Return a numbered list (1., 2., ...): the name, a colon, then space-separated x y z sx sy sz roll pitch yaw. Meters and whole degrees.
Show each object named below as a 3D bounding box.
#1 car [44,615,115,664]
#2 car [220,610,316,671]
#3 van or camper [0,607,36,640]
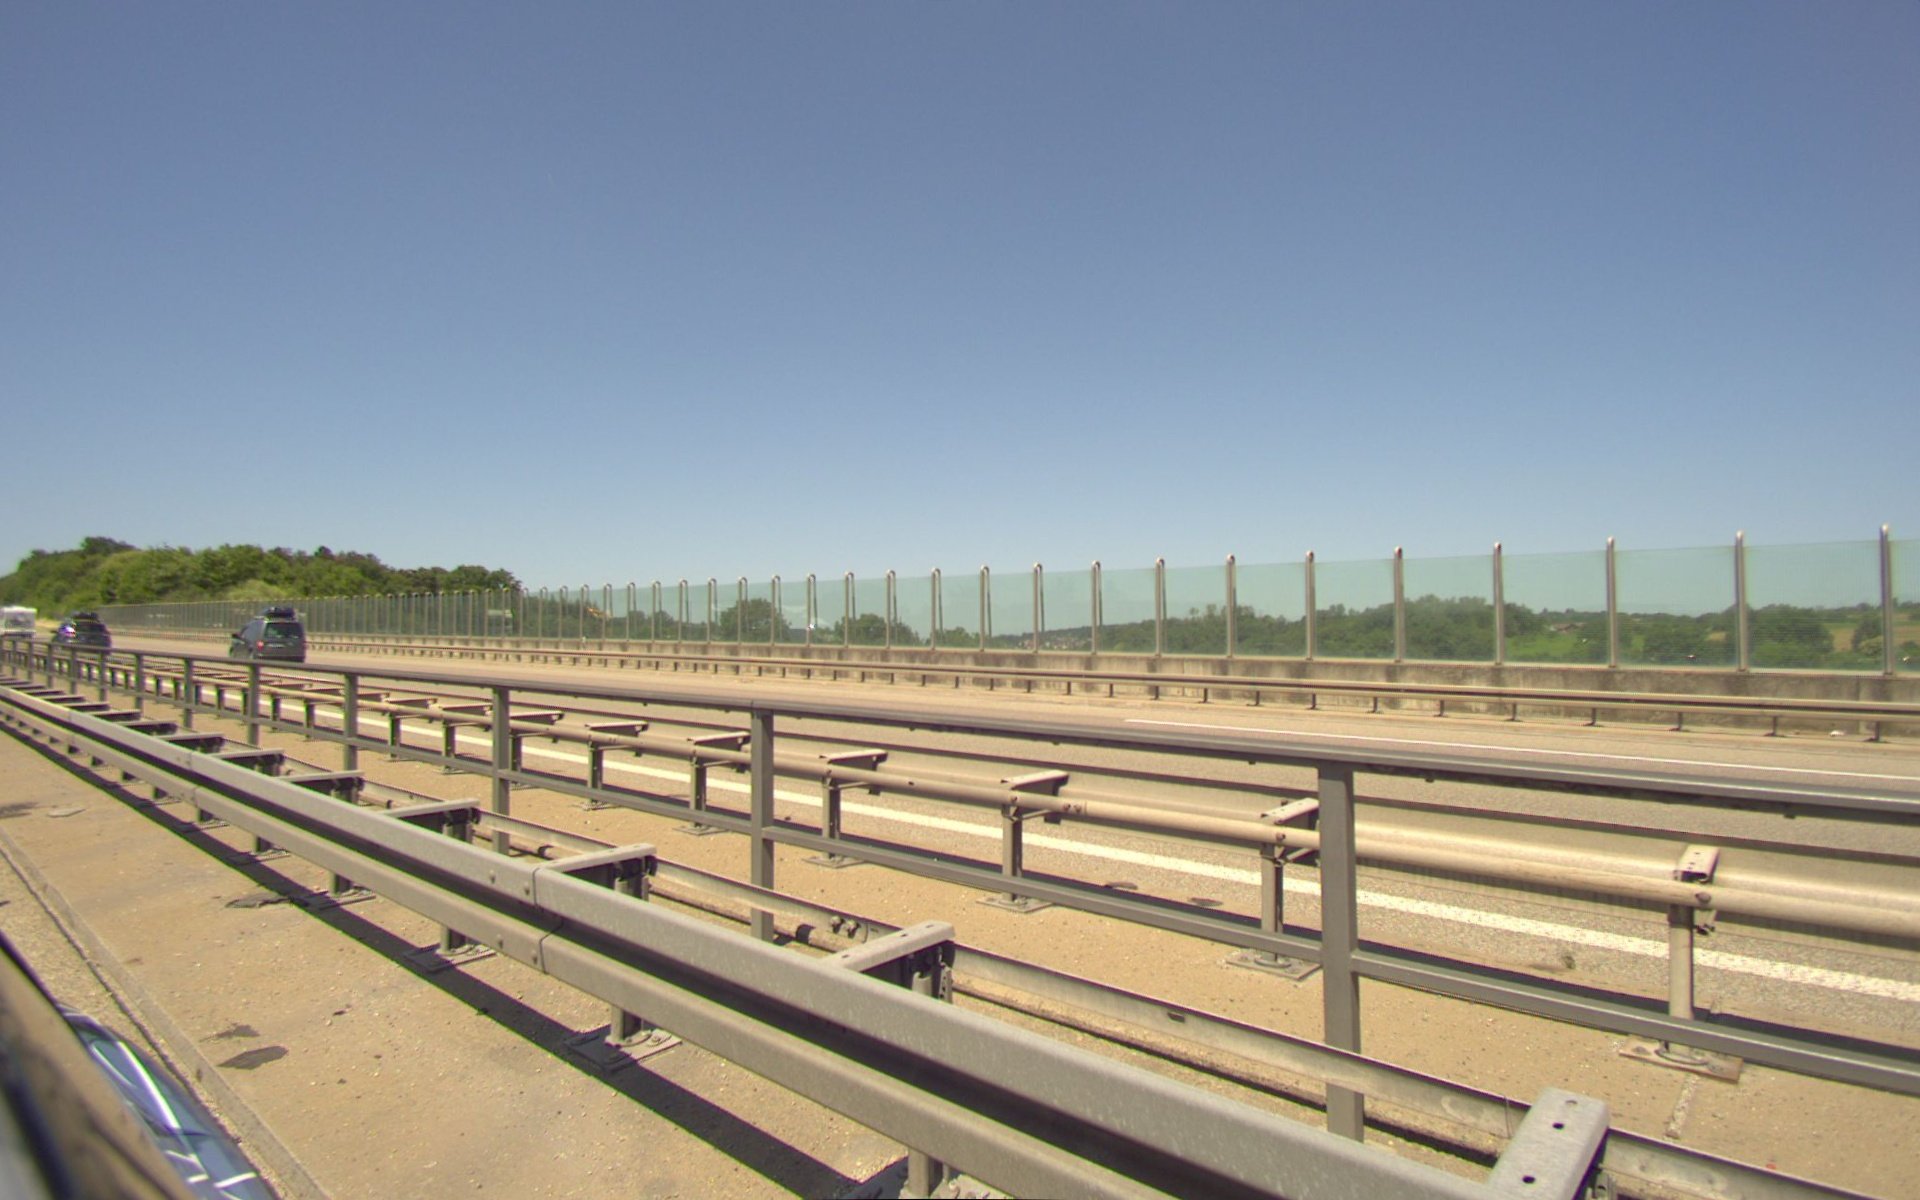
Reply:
1. car: -40.345 1.819 46.349 4.266 2.147 1.843 -2 -4 42
2. car: -26.961 1.577 39.379 4.265 2.233 1.973 -2 -4 41
3. van or camper: -89.942 2.253 96.086 7.023 3.047 2.397 -2 -4 41
